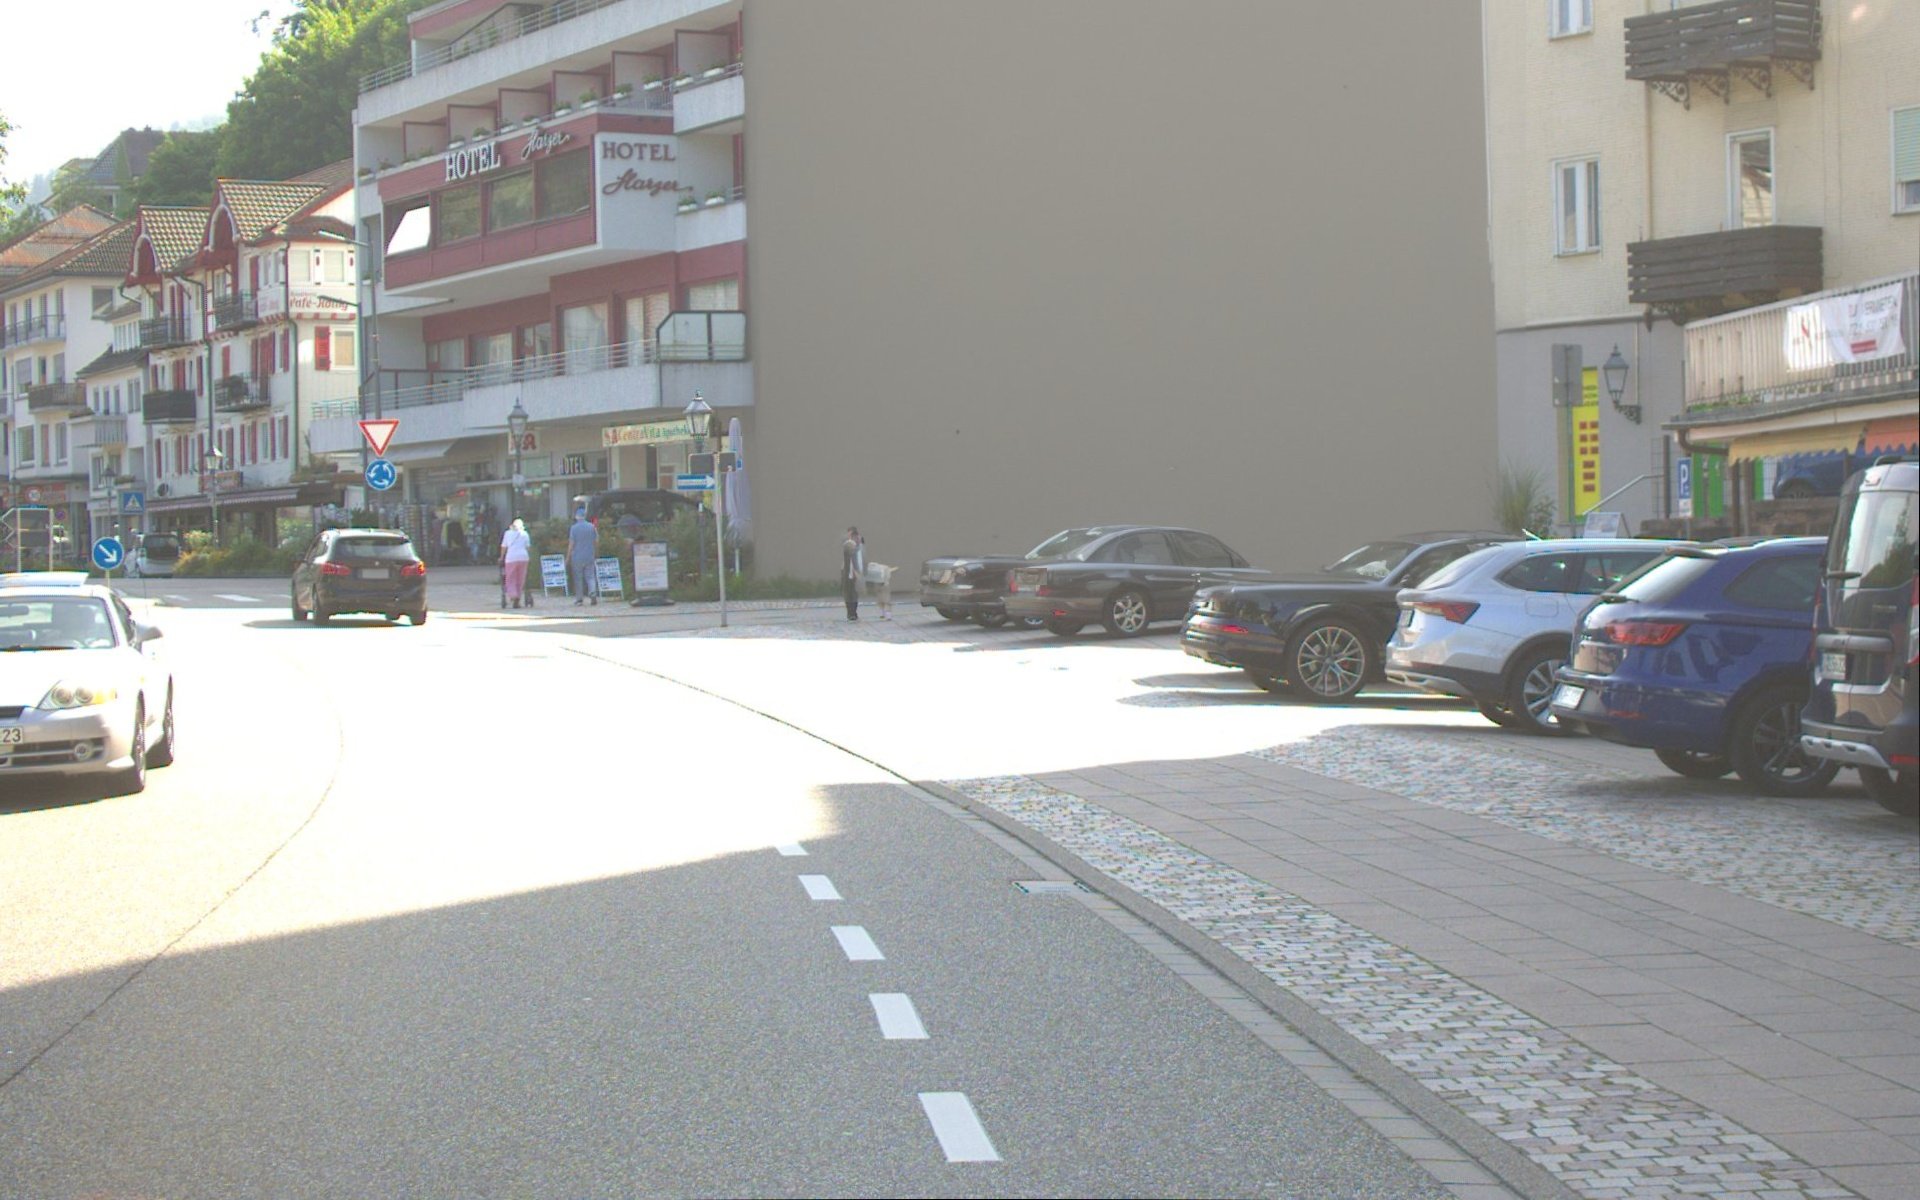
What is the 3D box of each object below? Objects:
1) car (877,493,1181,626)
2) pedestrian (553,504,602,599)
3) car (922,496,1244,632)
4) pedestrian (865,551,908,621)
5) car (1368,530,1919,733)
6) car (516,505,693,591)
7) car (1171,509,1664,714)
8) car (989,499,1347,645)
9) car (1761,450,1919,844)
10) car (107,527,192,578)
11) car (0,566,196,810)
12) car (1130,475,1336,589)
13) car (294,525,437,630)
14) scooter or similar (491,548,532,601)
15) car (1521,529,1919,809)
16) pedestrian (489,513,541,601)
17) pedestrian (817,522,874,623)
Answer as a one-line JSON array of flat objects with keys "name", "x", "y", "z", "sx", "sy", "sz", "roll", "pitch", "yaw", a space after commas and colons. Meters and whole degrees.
[{"name": "car", "x": 0.986, "y": -0.609, "z": 48.951, "sx": 3.860, "sy": 1.607, "sz": 1.773, "roll": -4, "pitch": 3, "yaw": -24}, {"name": "pedestrian", "x": -6.968, "y": -0.888, "z": 62.607, "sx": 0.668, "sy": 1.723, "sz": 0.708, "roll": -1, "pitch": 1, "yaw": -26}, {"name": "car", "x": 1.651, "y": -0.513, "z": 46.147, "sx": 3.860, "sy": 1.544, "sz": 1.773, "roll": -4, "pitch": 3, "yaw": -24}, {"name": "pedestrian", "x": -1.075, "y": -0.207, "z": 50.379, "sx": 0.417, "sy": 0.998, "sz": 0.530, "roll": -2, "pitch": 2, "yaw": 19}, {"name": "car", "x": 5.386, "y": 0.237, "z": 26.024, "sx": 4.356, "sy": 1.456, "sz": 1.772, "roll": 0, "pitch": 0, "yaw": -1}, {"name": "car", "x": -7.105, "y": -1.045, "z": 68.774, "sx": 3.163, "sy": 1.657, "sz": 1.595, "roll": -1, "pitch": 1, "yaw": -24}, {"name": "car", "x": 4.060, "y": 0.086, "z": 30.939, "sx": 4.083, "sy": 1.660, "sz": 1.773, "roll": 2, "pitch": 1, "yaw": -3}, {"name": "car", "x": 2.594, "y": -0.384, "z": 42.781, "sx": 4.009, "sy": 1.511, "sz": 1.773, "roll": -4, "pitch": 3, "yaw": -24}, {"name": "car", "x": 6.127, "y": 0.265, "z": 16.768, "sx": 3.909, "sy": 1.798, "sz": 1.858, "roll": 2, "pitch": 0, "yaw": -3}, {"name": "car", "x": -26.240, "y": -1.547, "z": 111.214, "sx": 1.676, "sy": 1.615, "sz": 4.001, "roll": -1, "pitch": 1, "yaw": -28}, {"name": "car", "x": -6.024, "y": 0.523, "z": 22.280, "sx": 1.627, "sy": 1.366, "sz": 4.064, "roll": -3, "pitch": 1, "yaw": -7}, {"name": "car", "x": 4.972, "y": -1.284, "z": 63.062, "sx": 1.857, "sy": 2.006, "sz": 3.678, "roll": -1, "pitch": 3, "yaw": -34}, {"name": "car", "x": -9.781, "y": -0.400, "z": 56.371, "sx": 1.727, "sy": 1.569, "sz": 3.754, "roll": -1, "pitch": 3, "yaw": -19}, {"name": "scooter or similar", "x": -8.204, "y": -0.468, "z": 62.880, "sx": 0.596, "sy": 0.947, "sz": 0.474, "roll": -1, "pitch": 1, "yaw": -26}, {"name": "car", "x": 5.329, "y": 0.392, "z": 19.492, "sx": 3.909, "sy": 1.456, "sz": 1.736, "roll": 2, "pitch": 1, "yaw": -3}, {"name": "pedestrian", "x": -8.121, "y": -0.794, "z": 62.705, "sx": 0.757, "sy": 1.588, "sz": 0.628, "roll": -1, "pitch": 1, "yaw": -26}, {"name": "pedestrian", "x": -1.676, "y": -0.404, "z": 50.409, "sx": 0.735, "sy": 1.437, "sz": 0.633, "roll": -3, "pitch": 2, "yaw": 0}]
